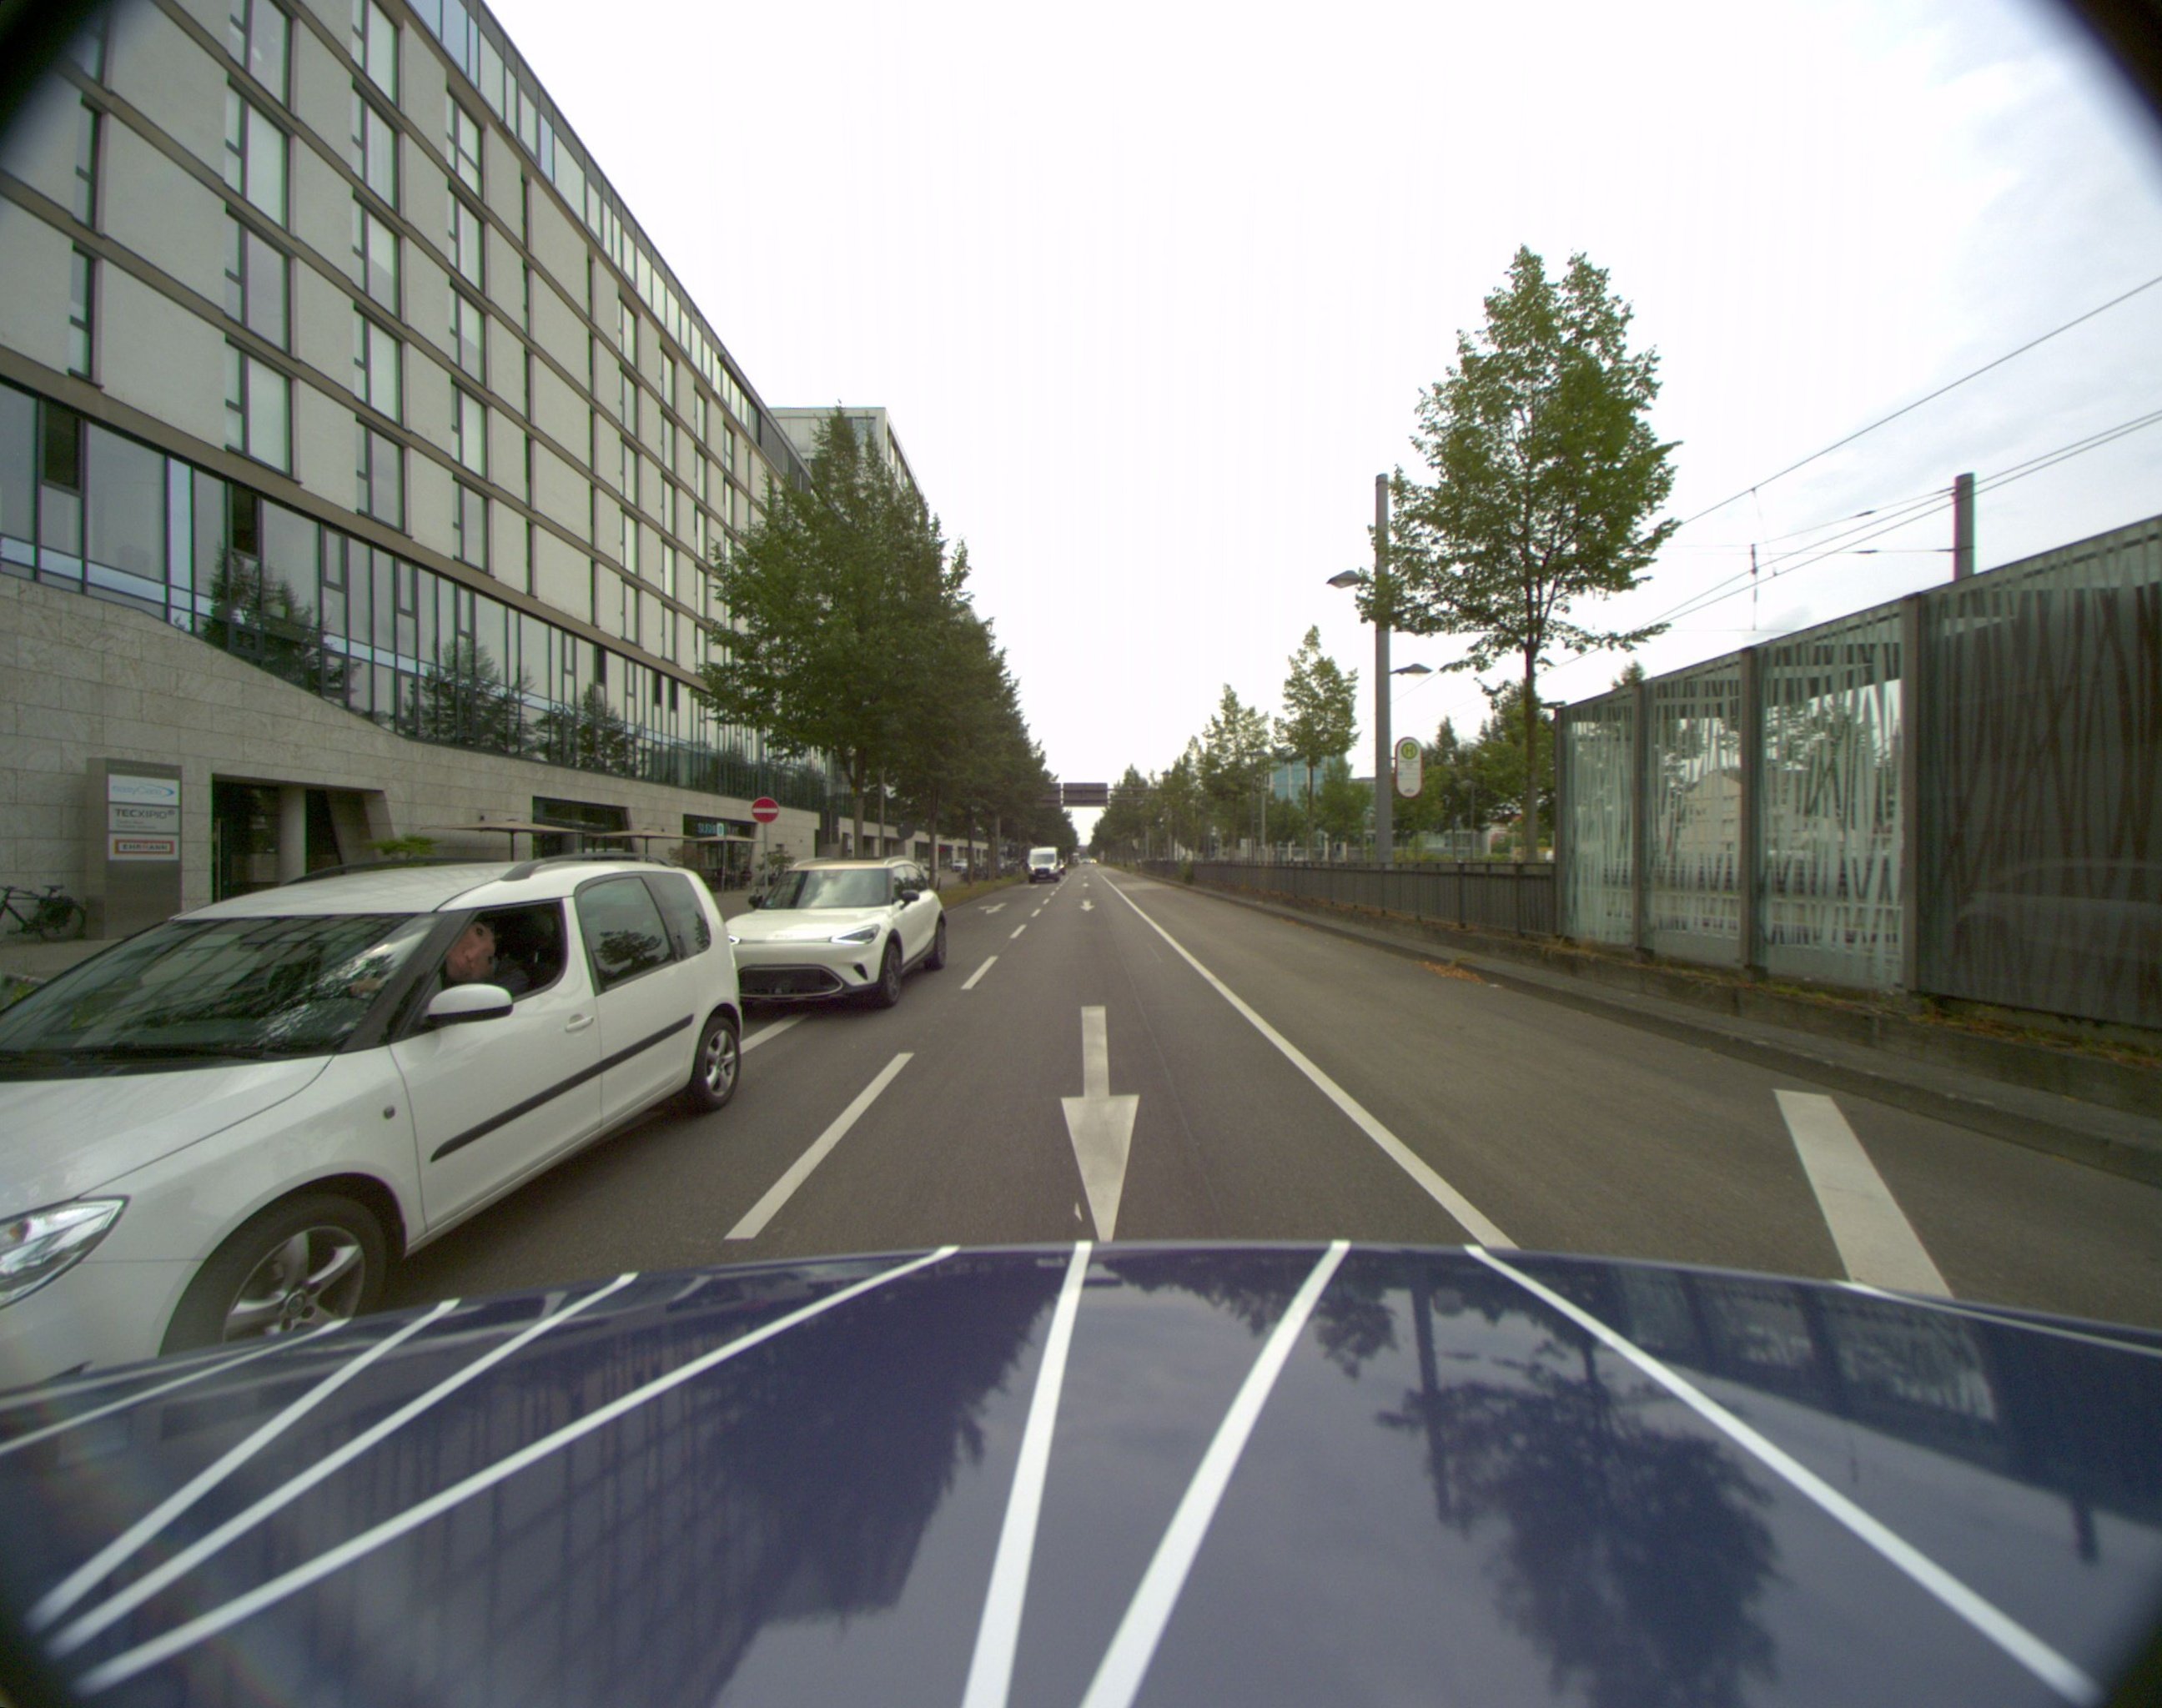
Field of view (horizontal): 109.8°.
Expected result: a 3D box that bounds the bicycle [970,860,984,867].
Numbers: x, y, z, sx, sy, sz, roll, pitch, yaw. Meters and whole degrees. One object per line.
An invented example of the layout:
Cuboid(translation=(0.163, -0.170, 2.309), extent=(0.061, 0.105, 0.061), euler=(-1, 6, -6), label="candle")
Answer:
Cuboid(translation=(-17.679, 1.640, 129.226), extent=(2.238, 1.170, 0.975), euler=(-1, 0, -7), label="bicycle")

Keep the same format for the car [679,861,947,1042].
Cuboid(translation=(-2.900, 0.943, 9.245), extent=(1.783, 1.647, 4.023), euler=(-2, 0, 0), label="car")

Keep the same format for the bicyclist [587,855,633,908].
Cuboid(translation=(-14.262, 0.813, 23.025), extent=(0.726, 1.573, 0.990), euler=(1, 1, 6), label="bicyclist")

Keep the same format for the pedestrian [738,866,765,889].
Cuboid(translation=(-17.238, 1.227, 39.740), extent=(0.773, 1.185, 1.107), euler=(0, 0, 16), label="pedestrian")

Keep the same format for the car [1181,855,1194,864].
Cuboid(translation=(23.606, 1.303, 168.737), extent=(1.998, 1.933, 5.096), euler=(0, 0, 0), label="car")

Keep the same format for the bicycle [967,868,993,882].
Cuboid(translation=(-7.639, 1.559, 57.437), extent=(1.865, 0.945, 0.612), euler=(-4, 0, -3), label="bicycle")

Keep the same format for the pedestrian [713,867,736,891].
Cuboid(translation=(-17.900, 1.267, 38.188), extent=(0.719, 1.185, 0.760), euler=(0, 0, 22), label="pedestrian")

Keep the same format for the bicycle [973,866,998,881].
Cuboid(translation=(-7.570, 1.527, 60.199), extent=(1.936, 1.059, 0.543), euler=(-4, 0, -8), label="bicycle")

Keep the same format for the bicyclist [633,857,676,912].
Cuboid(translation=(-12.815, 0.902, 22.859), extent=(0.726, 1.573, 0.990), euler=(1, 1, 1), label="bicyclist")

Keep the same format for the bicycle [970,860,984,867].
Cuboid(translation=(-17.876, 1.642, 130.453), extent=(2.426, 1.170, 1.202), euler=(-1, 0, -7), label="bicycle")

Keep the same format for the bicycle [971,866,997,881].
Cuboid(translation=(-7.585, 1.529, 59.619), extent=(1.936, 1.059, 0.543), euler=(-4, 0, -8), label="bicycle")

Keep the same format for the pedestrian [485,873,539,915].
Cuboid(translation=(-17.125, 1.206, 22.891), extent=(0.899, 1.221, 0.950), euler=(0, 0, 5), label="pedestrian")

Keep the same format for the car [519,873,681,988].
Cuboid(translation=(-8.202, 1.104, 12.895), extent=(1.951, 1.467, 4.858), euler=(0, 0, -34), label="car")

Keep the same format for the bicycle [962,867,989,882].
Cuboid(translation=(-7.674, 1.498, 55.280), extent=(1.865, 0.989, 0.574), euler=(-4, 0, -3), label="bicycle")

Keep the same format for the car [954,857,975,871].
Cuboid(translation=(-14.219, 1.198, 93.081), extent=(1.862, 1.579, 4.240), euler=(2, 0, 0), label="car")

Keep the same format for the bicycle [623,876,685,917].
Cuboid(translation=(-12.839, 1.247, 22.919), extent=(0.675, 1.136, 2.008), euler=(0, -1, 2), label="bicycle")

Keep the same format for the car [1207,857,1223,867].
Cuboid(translation=(23.466, 1.367, 133.535), extent=(1.832, 1.646, 4.691), euler=(0, 0, -2), label="car")

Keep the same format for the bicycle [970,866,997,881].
Cuboid(translation=(-7.546, 1.498, 58.888), extent=(1.935, 1.059, 0.641), euler=(-4, 0, -3), label="bicycle")

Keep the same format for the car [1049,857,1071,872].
Cuboid(translation=(-2.117, 1.070, 77.462), extent=(1.973, 1.528, 4.139), euler=(0, 0, 1), label="car")

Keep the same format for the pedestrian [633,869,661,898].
Cuboid(translation=(-18.114, 1.222, 31.731), extent=(0.720, 1.185, 0.759), euler=(0, 0, 0), label="pedestrian")

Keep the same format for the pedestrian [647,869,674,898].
Cuboid(translation=(-18.096, 1.268, 32.708), extent=(0.720, 1.185, 0.759), euler=(0, 0, 2), label="pedestrian")

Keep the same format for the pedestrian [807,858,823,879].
Cuboid(translation=(-17.694, 0.971, 50.603), extent=(0.758, 1.398, 0.721), euler=(0, 0, 8), label="pedestrian")

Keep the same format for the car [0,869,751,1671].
Cuboid(translation=(-3.171, 0.925, 3.159), extent=(1.783, 1.647, 4.023), euler=(0, 0, 1), label="car")

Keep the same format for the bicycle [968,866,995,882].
Cuboid(translation=(-7.625, 1.505, 58.129), extent=(1.935, 1.059, 0.705), euler=(-4, 0, -3), label="bicycle")

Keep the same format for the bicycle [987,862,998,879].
Cuboid(translation=(-6.125, 1.162, 52.521), extent=(0.712, 1.109, 2.202), euler=(-4, 0, -7), label="bicycle")

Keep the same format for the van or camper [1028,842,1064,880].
Cuboid(translation=(-2.427, 0.477, 54.190), extent=(2.184, 2.493, 6.339), euler=(-2, 0, 0), label="van or camper")

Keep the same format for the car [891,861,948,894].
Cuboid(translation=(-8.204, 1.150, 38.911), extent=(1.943, 1.543, 4.593), euler=(-1, 0, 0), label="car")

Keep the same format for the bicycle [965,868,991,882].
Cuboid(translation=(-7.677, 1.564, 56.696), extent=(1.865, 0.945, 0.652), euler=(-4, 0, -3), label="bicycle")

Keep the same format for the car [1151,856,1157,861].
Cuboid(translation=(23.669, 1.535, 247.321), extent=(1.752, 1.448, 3.865), euler=(-1, 0, 2), label="car")

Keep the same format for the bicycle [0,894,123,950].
Cuboid(translation=(-18.777, 1.214, 13.929), extent=(0.519, 0.905, 1.493), euler=(0, 0, 1), label="bicycle")

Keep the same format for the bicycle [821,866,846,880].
Cuboid(translation=(-17.759, 1.368, 54.512), extent=(1.605, 1.020, 0.609), euler=(0, 0, -27), label="bicycle")

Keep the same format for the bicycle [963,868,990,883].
Cuboid(translation=(-7.691, 1.567, 55.947), extent=(1.865, 0.945, 0.501), euler=(-4, 0, -3), label="bicycle")
